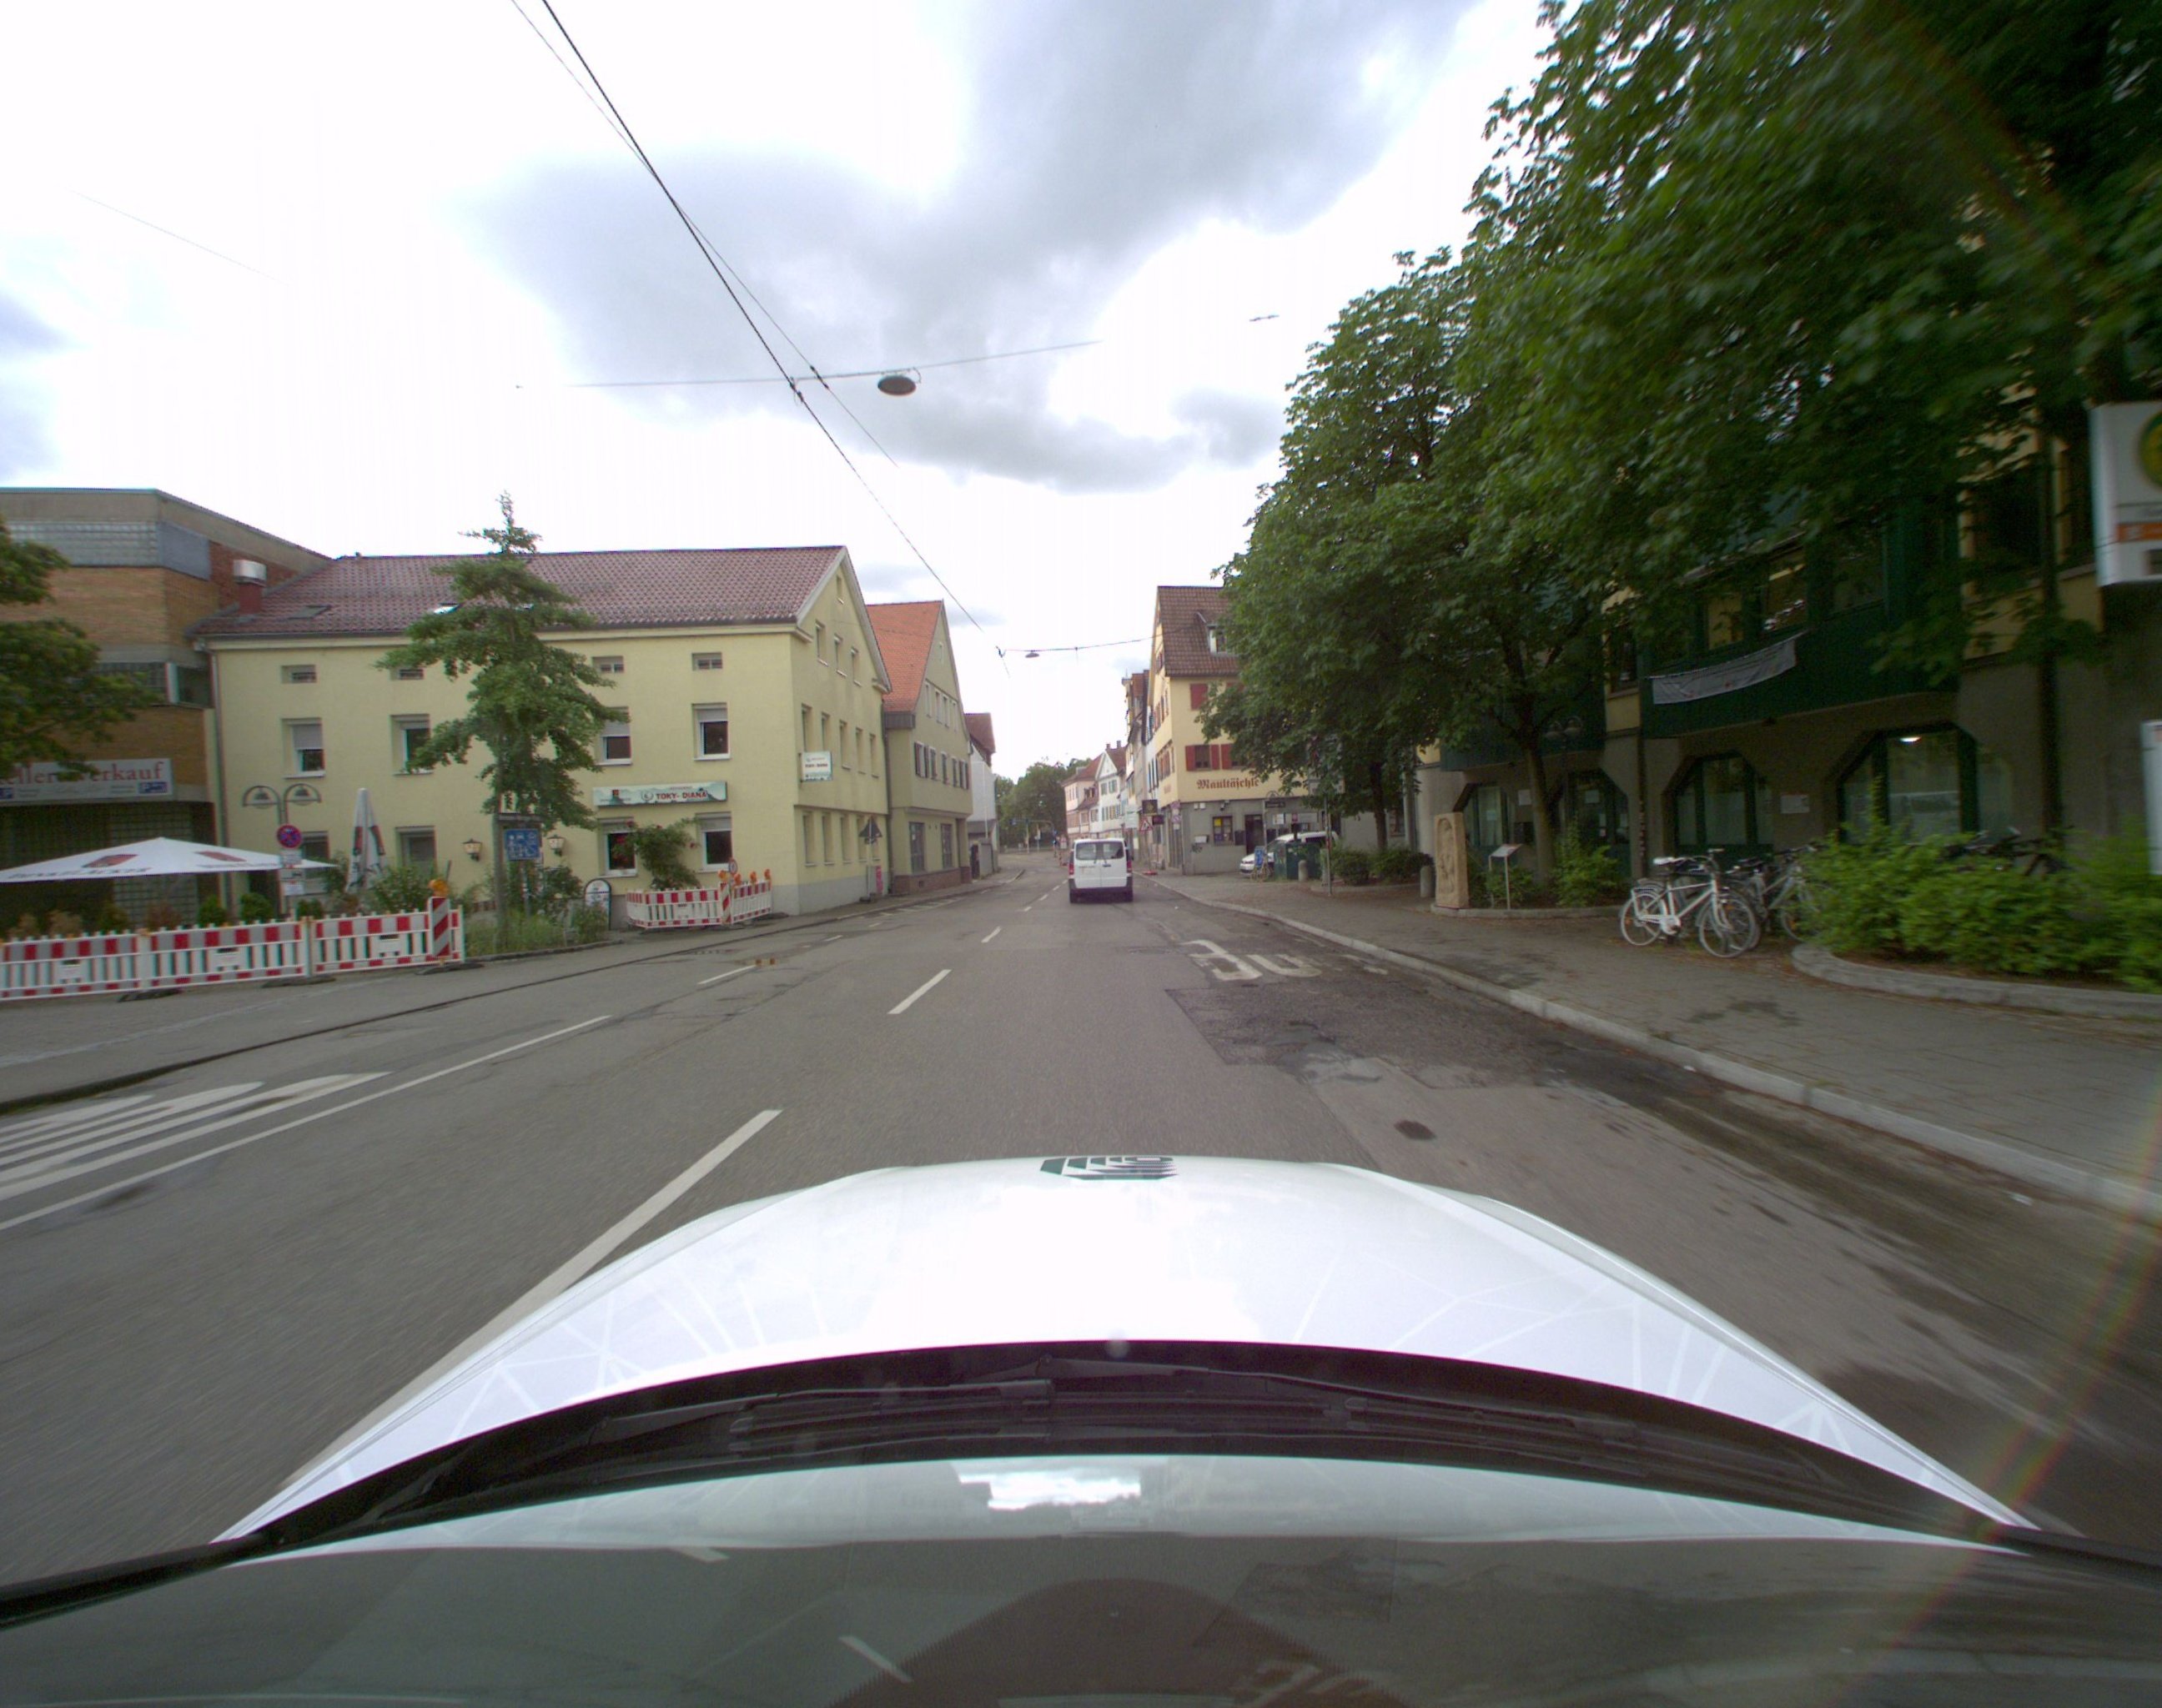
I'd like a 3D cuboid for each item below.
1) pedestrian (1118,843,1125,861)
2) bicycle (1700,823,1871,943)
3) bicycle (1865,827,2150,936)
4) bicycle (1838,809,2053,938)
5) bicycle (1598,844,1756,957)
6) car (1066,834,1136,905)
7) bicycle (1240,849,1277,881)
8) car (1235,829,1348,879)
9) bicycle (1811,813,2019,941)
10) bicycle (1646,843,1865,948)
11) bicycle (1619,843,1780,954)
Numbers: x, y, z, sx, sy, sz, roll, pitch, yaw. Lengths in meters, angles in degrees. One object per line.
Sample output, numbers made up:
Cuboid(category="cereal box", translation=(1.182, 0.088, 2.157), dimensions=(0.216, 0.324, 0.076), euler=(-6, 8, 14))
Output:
Cuboid(category="pedestrian", translation=(3.925, -0.170, 79.057), dimensions=(0.641, 1.747, 0.562), euler=(-2, 0, -3))
Cuboid(category="bicycle", translation=(8.392, 0.314, 9.820), dimensions=(0.332, 1.300, 1.958), euler=(-2, 0, 0))
Cuboid(category="bicycle", translation=(10.514, 0.276, 9.415), dimensions=(0.543, 1.069, 2.288), euler=(-4, 0, -4))
Cuboid(category="bicycle", translation=(9.740, 0.199, 9.296), dimensions=(0.332, 1.300, 1.958), euler=(-2, 0, 0))
Cuboid(category="bicycle", translation=(6.707, 0.473, 9.299), dimensions=(0.332, 1.141, 1.958), euler=(-2, 0, 0))
Cuboid(category="car", translation=(0.644, 0.412, 25.028), dimensions=(1.865, 1.911, 4.002), euler=(-3, 0, 2))
Cuboid(category="bicycle", translation=(6.544, 0.405, 30.134), dimensions=(0.501, 1.106, 1.627), euler=(-4, 0, -19))
Cuboid(category="car", translation=(8.934, -0.035, 34.655), dimensions=(4.239, 1.797, 1.843), euler=(-3, 2, -8))
Cuboid(category="bicycle", translation=(9.417, 0.235, 9.322), dimensions=(0.332, 1.300, 1.958), euler=(-2, 0, 0))
Cuboid(category="bicycle", translation=(7.889, 0.438, 9.702), dimensions=(0.543, 1.069, 2.288), euler=(-4, 0, -4))
Cuboid(category="bicycle", translation=(7.045, 0.460, 9.406), dimensions=(0.332, 1.141, 1.958), euler=(-2, 0, 0))
